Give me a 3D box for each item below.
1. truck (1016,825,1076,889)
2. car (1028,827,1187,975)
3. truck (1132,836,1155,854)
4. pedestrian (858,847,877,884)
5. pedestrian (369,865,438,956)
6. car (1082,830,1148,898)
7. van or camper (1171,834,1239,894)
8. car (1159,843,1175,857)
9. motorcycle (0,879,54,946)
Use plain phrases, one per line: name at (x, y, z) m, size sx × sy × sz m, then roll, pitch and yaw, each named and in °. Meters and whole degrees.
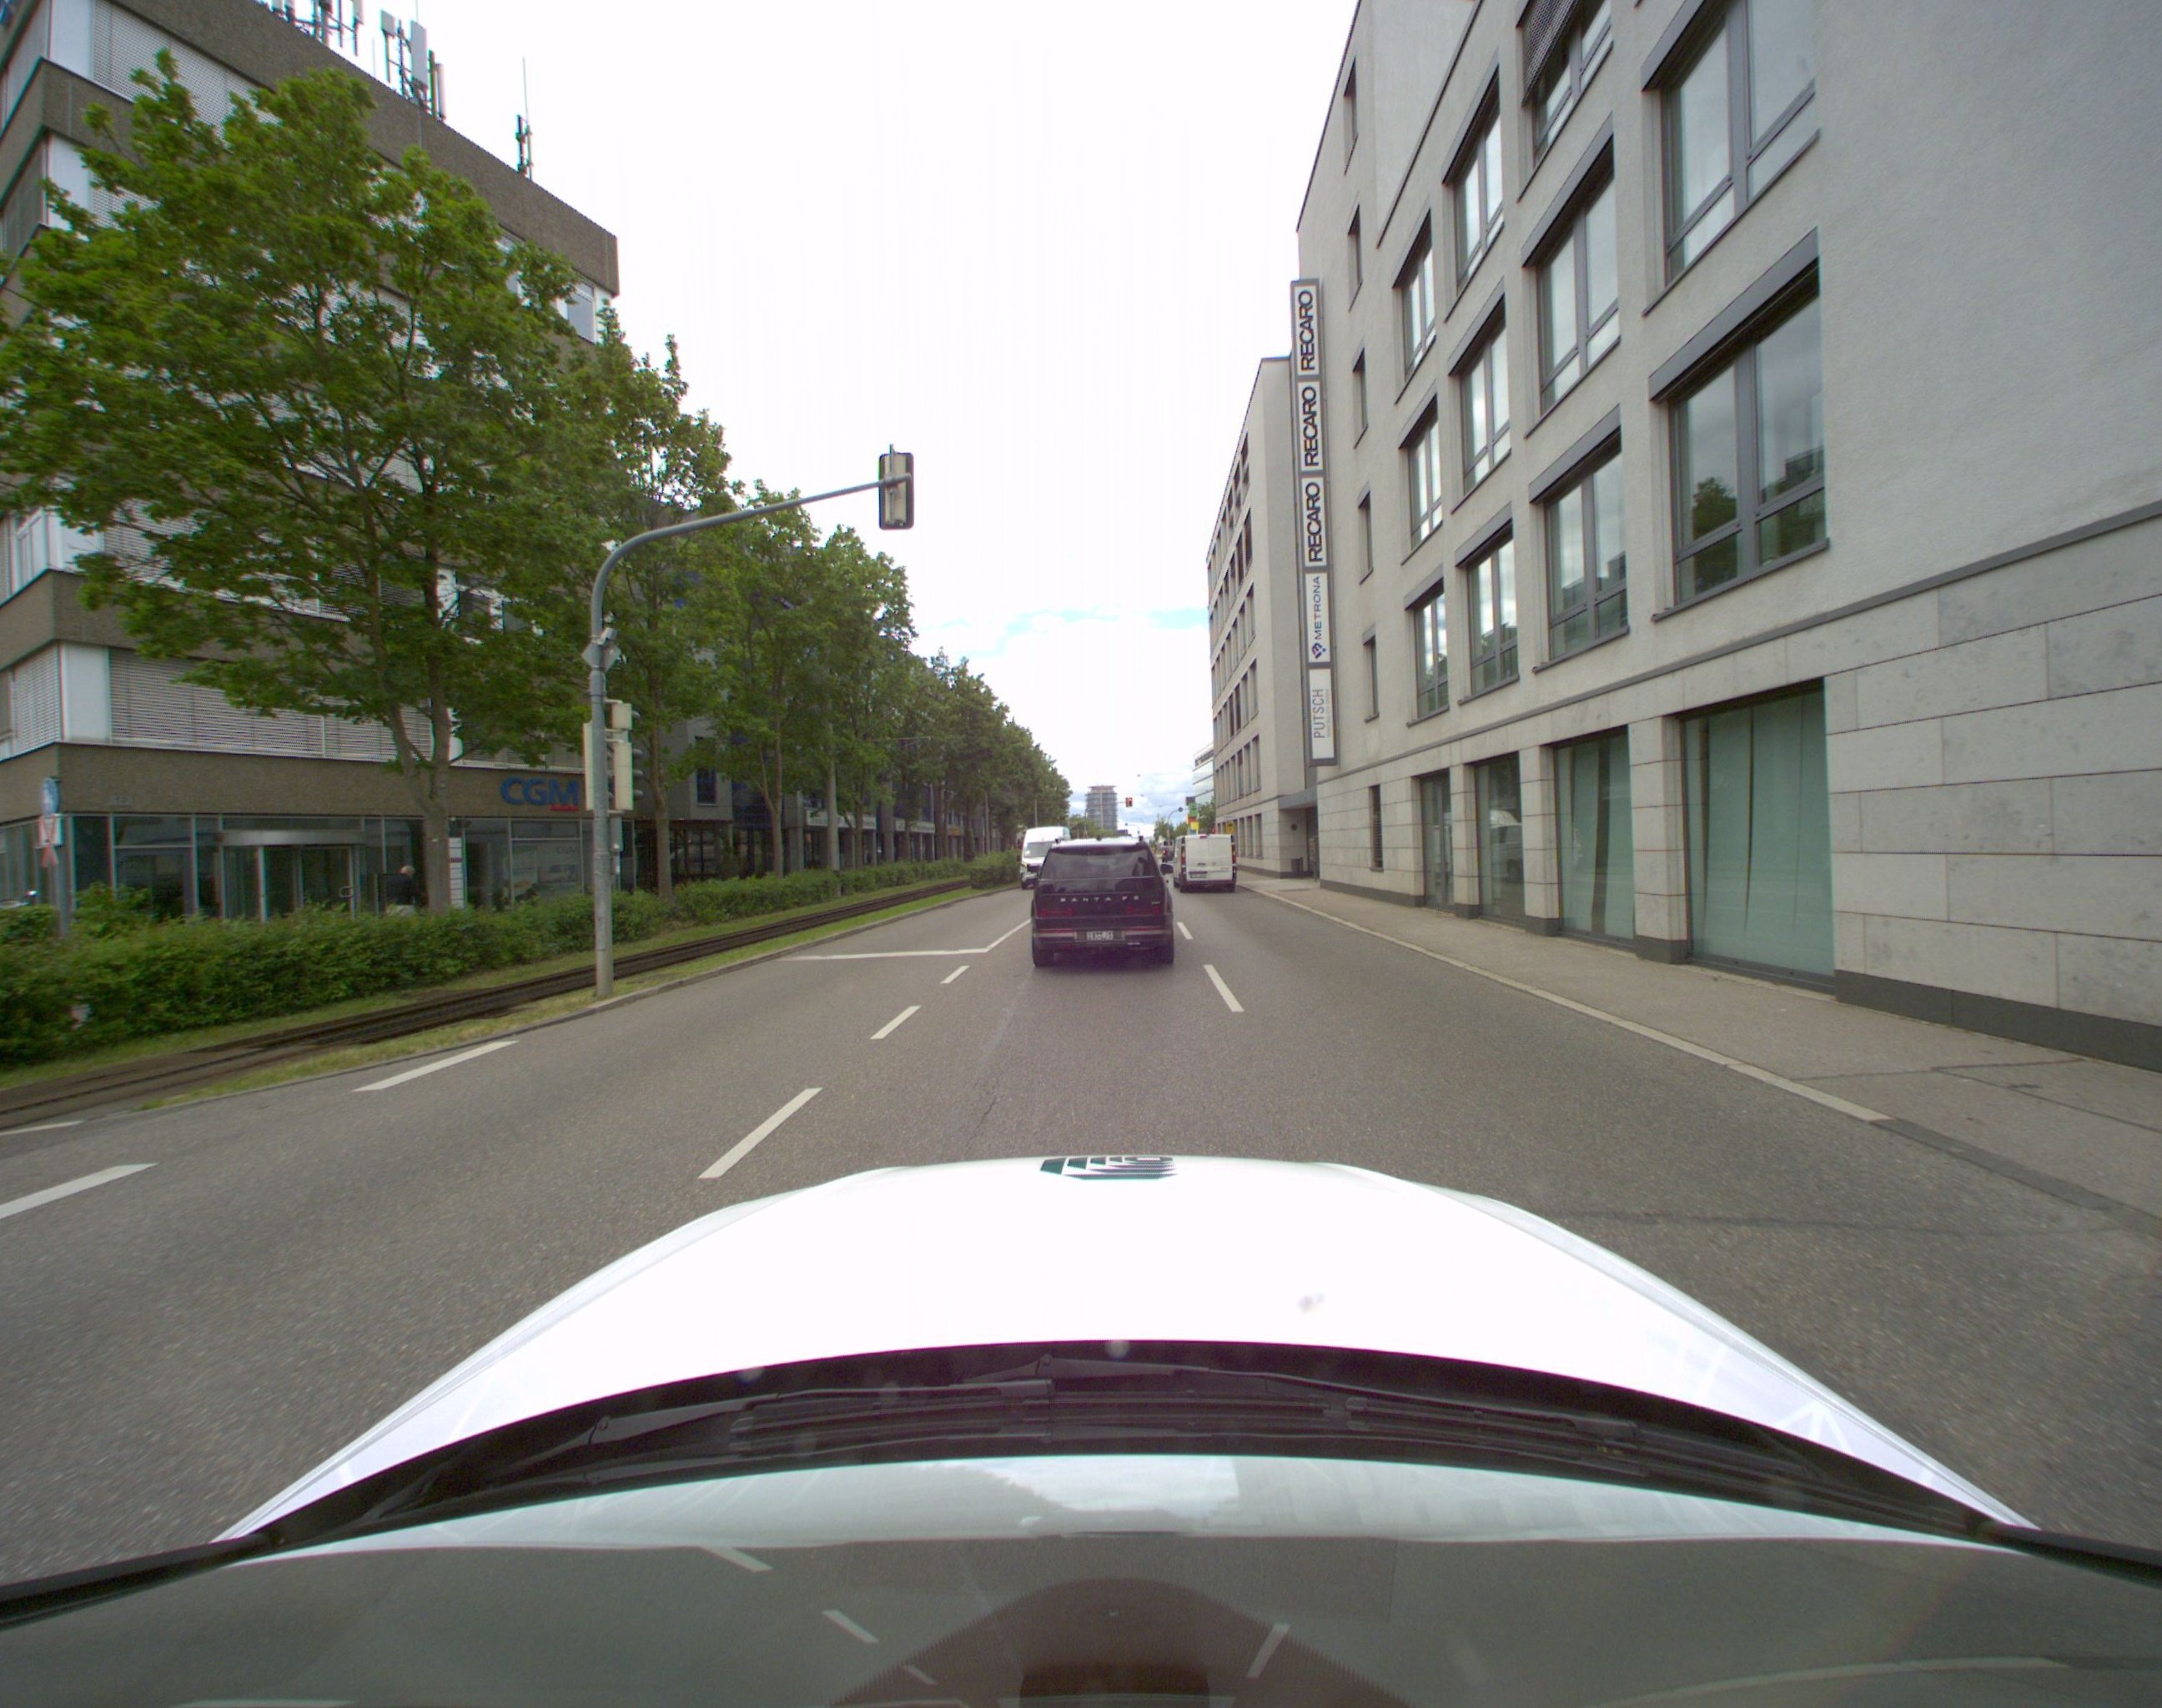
truck at (-1.510, 0.093, 37.563) m, size 2.157 × 2.615 × 5.800 m, roll -2°, pitch 1°, yaw 3°
car at (0.261, 0.561, 12.197) m, size 1.904 × 1.749 × 4.393 m, roll -2°, pitch 0°, yaw -2°
truck at (9.869, -1.423, 128.540) m, size 2.329 × 2.747 × 6.473 m, roll -3°, pitch 1°, yaw -6°
pedestrian at (-11.299, 0.609, 43.077) m, size 0.672 × 1.908 × 0.622 m, roll -3°, pitch 0°, yaw 3°
pedestrian at (-13.348, 1.090, 16.065) m, size 0.684 × 1.705 × 0.684 m, roll -3°, pitch 0°, yaw 5°
car at (1.042, 0.279, 27.181) m, size 1.925 × 1.994 × 4.534 m, roll -2°, pitch 1°, yaw 0°
van or camper at (4.276, 0.285, 28.679) m, size 1.985 × 1.915 × 4.336 m, roll -1°, pitch 1°, yaw 3°
car at (10.029, -0.484, 94.813) m, size 1.750 × 1.609 × 4.196 m, roll -2°, pitch 1°, yaw 6°
motorcycle at (-20.655, 1.123, 15.781) m, size 1.861 × 1.199 × 0.572 m, roll -2°, pitch 0°, yaw 28°
